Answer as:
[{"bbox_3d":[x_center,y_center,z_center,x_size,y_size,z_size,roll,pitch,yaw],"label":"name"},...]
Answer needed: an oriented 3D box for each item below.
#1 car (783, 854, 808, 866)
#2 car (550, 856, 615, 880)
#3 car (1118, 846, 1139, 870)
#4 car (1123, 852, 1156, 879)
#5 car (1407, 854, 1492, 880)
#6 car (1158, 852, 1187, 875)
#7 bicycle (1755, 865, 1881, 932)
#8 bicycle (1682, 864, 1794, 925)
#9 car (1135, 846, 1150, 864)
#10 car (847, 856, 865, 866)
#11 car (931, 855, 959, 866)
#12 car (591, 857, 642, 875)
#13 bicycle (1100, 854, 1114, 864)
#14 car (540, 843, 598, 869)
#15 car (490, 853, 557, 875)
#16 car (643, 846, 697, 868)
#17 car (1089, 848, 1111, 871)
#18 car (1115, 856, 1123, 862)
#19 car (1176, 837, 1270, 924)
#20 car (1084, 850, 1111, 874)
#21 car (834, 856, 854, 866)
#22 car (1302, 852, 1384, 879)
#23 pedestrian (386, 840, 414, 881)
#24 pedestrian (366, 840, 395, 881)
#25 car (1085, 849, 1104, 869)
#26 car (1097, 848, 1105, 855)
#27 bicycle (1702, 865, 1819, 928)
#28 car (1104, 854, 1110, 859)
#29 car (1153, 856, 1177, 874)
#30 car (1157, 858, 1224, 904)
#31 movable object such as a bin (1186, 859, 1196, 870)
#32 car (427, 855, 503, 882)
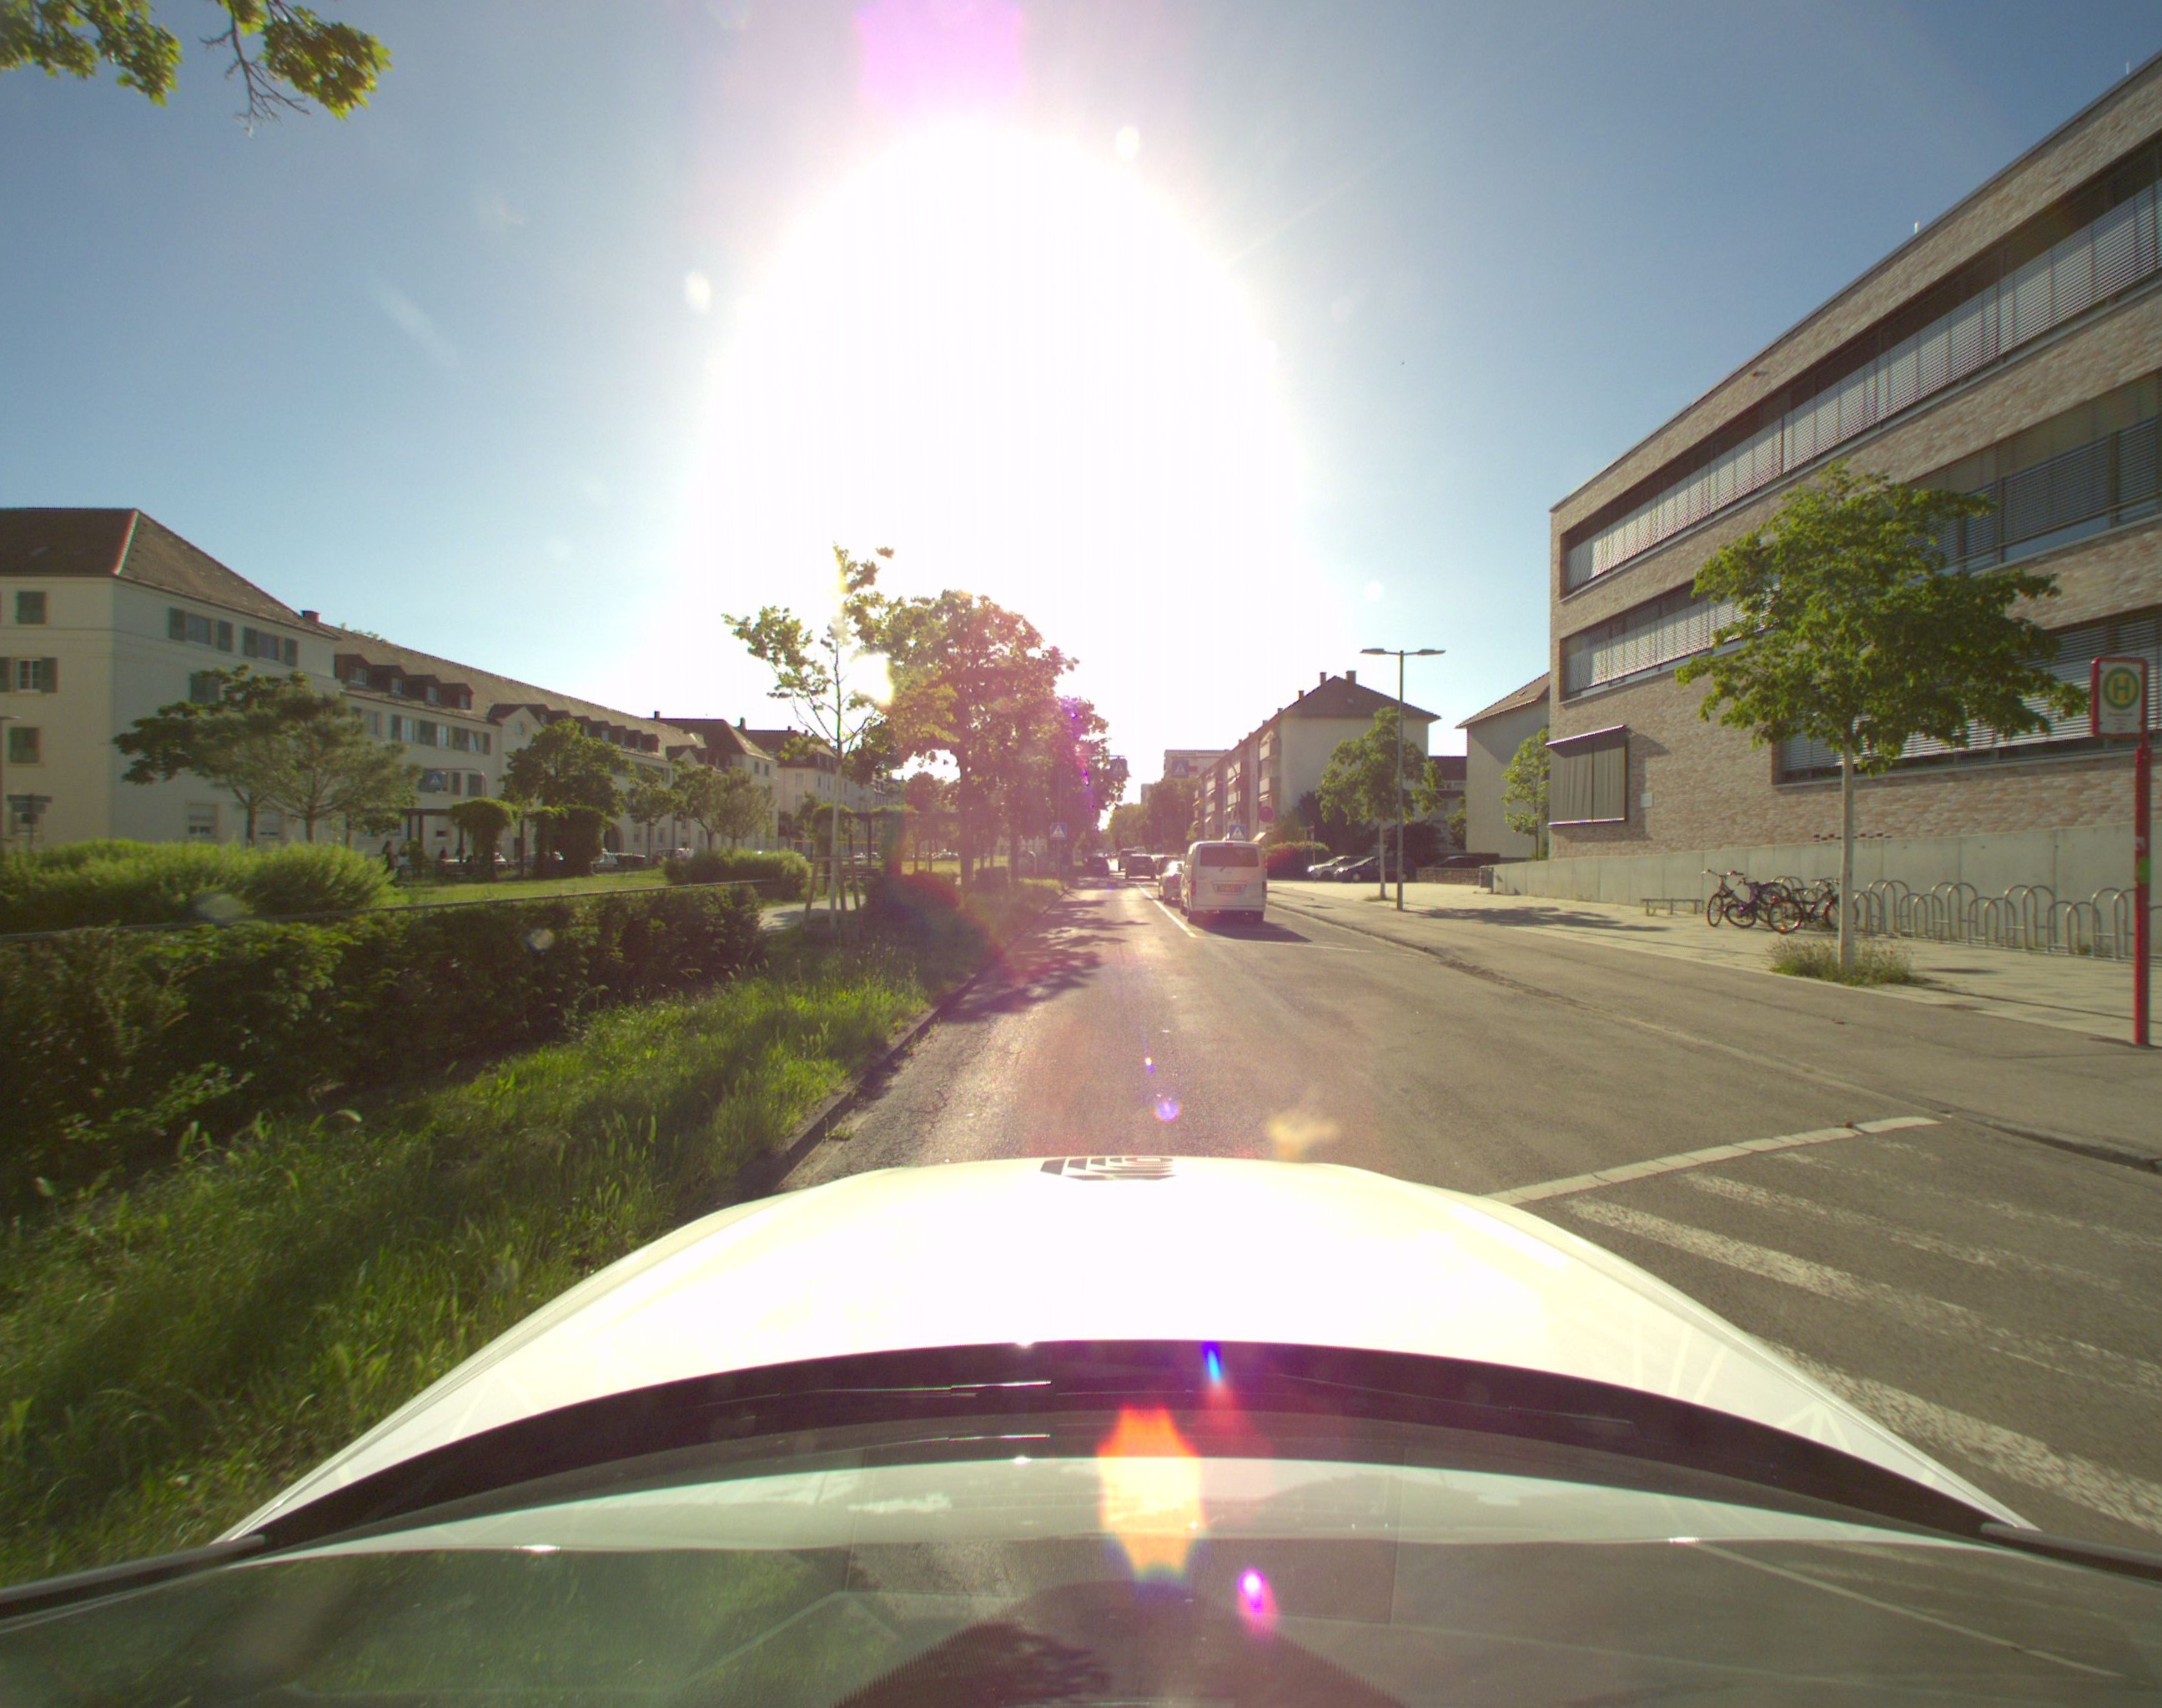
[{"bbox_3d":[-38.404,0.797,109.672,1.787,1.510,4.002,0,0,2],"label":"car"},{"bbox_3d":[-33.344,0.933,54.585,1.787,1.510,4.002,0,0,2],"label":"car"},{"bbox_3d":[4.308,0.350,74.178,1.787,2.122,4.002,0,0,2],"label":"car"},{"bbox_3d":[3.461,0.640,48.468,1.787,1.510,4.002,0,0,2],"label":"car"},{"bbox_3d":[22.689,0.832,50.203,4.467,1.540,1.799,0,-2,-1],"label":"car"},{"bbox_3d":[6.603,0.698,59.375,1.787,1.601,4.002,1,0,2],"label":"car"},{"bbox_3d":[13.053,0.776,14.445,1.789,1.107,0.500,-2,0,-1],"label":"bicycle"},{"bbox_3d":[12.890,0.792,15.986,1.789,1.107,0.500,-2,0,-1],"label":"bicycle"},{"bbox_3d":[8.865,0.093,117.974,1.986,2.430,4.502,2,0,2],"label":"car"},{"bbox_3d":[-37.542,1.173,135.756,1.788,1.510,4.001,0,0,1],"label":"car"},{"bbox_3d":[-20.690,0.990,123.811,3.977,1.510,1.799,0,0,-2],"label":"car"},{"bbox_3d":[-38.498,0.987,67.554,1.787,1.384,4.002,0,0,2],"label":"car"},{"bbox_3d":[4.321,0.820,137.174,2.317,1.540,0.630,0,0,-3],"label":"bicycle"},{"bbox_3d":[-38.745,0.171,61.756,1.787,1.909,4.002,0,0,2],"label":"car"},{"bbox_3d":[-38.775,0.673,56.743,1.787,1.510,4.002,0,0,2],"label":"car"},{"bbox_3d":[-33.286,0.251,66.124,1.787,1.710,4.705,0,0,2],"label":"car"},{"bbox_3d":[1.741,0.459,74.319,1.986,2.013,4.002,0,0,2],"label":"car"},{"bbox_3d":[9.586,1.354,205.014,1.787,1.510,4.002,0,0,2],"label":"car"},{"bbox_3d":[3.323,0.557,19.803,1.786,1.855,4.417,0,0,4],"label":"car"},{"bbox_3d":[1.205,0.567,57.445,1.787,1.624,4.002,1,0,2],"label":"car"},{"bbox_3d":[-37.799,1.166,130.012,1.787,1.510,4.146,0,0,2],"label":"car"},{"bbox_3d":[16.112,0.717,50.206,4.467,1.622,1.799,0,-2,-1],"label":"car"},{"bbox_3d":[-28.755,0.261,34.386,0.645,1.698,0.650,0,0,2],"label":"pedestrian"},{"bbox_3d":[-29.548,0.261,34.371,0.645,1.698,0.650,0,0,2],"label":"pedestrian"},{"bbox_3d":[1.453,0.518,86.393,1.986,2.013,4.002,0,0,2],"label":"car"},{"bbox_3d":[4.542,-0.530,182.300,1.787,1.510,4.002,0,0,2],"label":"car"},{"bbox_3d":[12.880,0.793,15.461,1.789,1.107,0.500,-2,0,-1],"label":"bicycle"},{"bbox_3d":[8.030,0.641,250.195,1.787,1.510,4.002,0,0,2],"label":"car"},{"bbox_3d":[7.310,0.948,71.055,1.787,1.510,4.002,0,0,2],"label":"car"},{"bbox_3d":[3.444,0.832,26.272,1.758,1.319,4.170,1,-1,2],"label":"car"},{"bbox_3d":[14.698,1.389,109.066,1.087,1.510,2.003,0,0,2],"label":"movable object such as a bin"},{"bbox_3d":[-39.028,0.866,51.747,1.788,1.611,3.999,0,0,0],"label":"car"}]
